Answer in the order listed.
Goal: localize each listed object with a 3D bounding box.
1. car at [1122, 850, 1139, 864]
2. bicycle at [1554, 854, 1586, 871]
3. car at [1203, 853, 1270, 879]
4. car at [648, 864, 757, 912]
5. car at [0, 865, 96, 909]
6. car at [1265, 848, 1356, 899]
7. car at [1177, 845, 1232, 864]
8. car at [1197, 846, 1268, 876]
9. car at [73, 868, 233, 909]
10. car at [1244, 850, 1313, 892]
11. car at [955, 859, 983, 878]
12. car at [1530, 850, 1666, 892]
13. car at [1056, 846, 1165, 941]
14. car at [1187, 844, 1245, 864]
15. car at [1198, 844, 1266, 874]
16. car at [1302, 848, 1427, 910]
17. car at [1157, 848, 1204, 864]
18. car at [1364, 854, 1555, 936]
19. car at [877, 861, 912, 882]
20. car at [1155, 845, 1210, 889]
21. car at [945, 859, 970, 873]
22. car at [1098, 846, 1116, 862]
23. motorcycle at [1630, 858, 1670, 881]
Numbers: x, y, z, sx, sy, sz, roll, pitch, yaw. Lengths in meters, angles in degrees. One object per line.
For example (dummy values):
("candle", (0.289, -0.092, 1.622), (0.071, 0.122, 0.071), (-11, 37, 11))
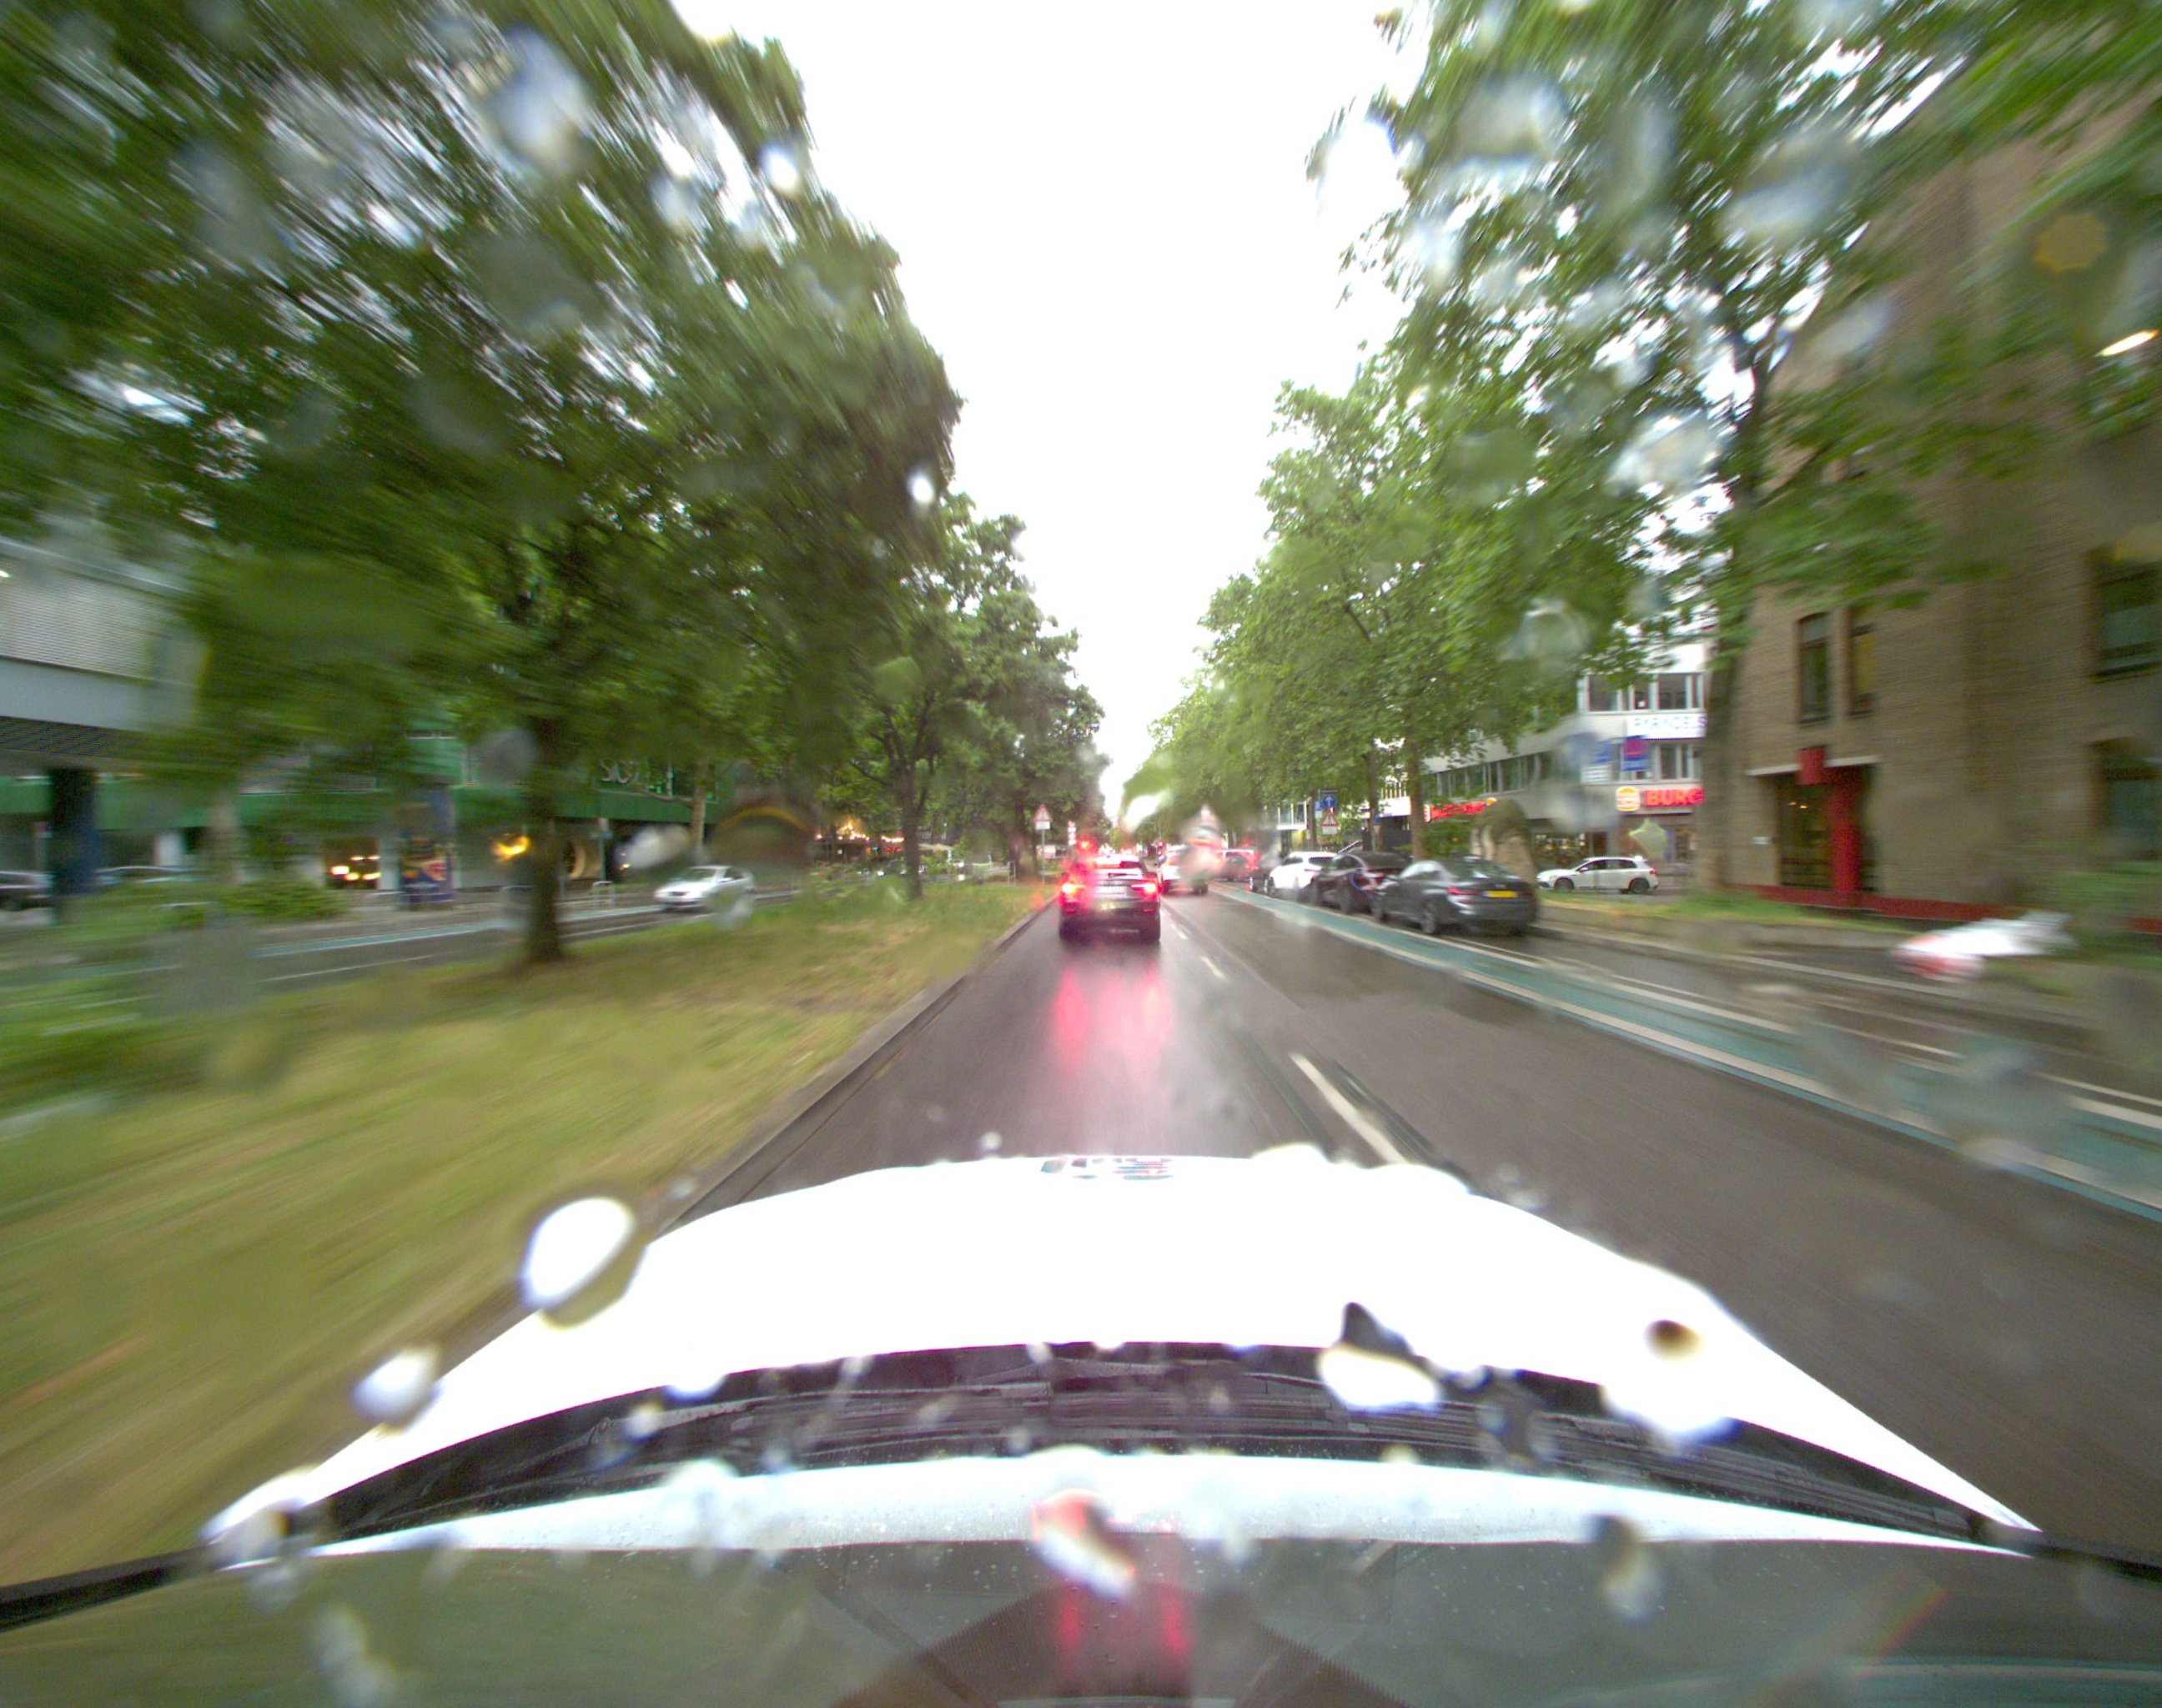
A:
("car", (6.043, 0.364, 99.293), (1.986, 1.651, 4.001), (0, -1, 2))
("bicycle", (24.874, 0.423, 41.473), (0.446, 0.836, 2.027), (0, -1, 2))
("car", (8.689, 0.676, 45.686), (1.568, 1.378, 3.831), (1, -1, -31))
("car", (-12.263, 1.059, 26.655), (1.642, 1.435, 3.814), (-1, -1, 2))
("car", (-36.628, 1.105, 27.928), (3.608, 1.469, 1.698), (0, -1, 1))
("car", (7.515, 0.614, 27.098), (1.723, 1.571, 4.069), (0, -1, -3))
("car", (11.332, 0.041, 74.663), (4.594, 1.706, 2.012), (0, -1, 29))
("car", (10.662, 0.473, 57.558), (4.548, 2.014, 1.980), (0, -1, 39))
("car", (-31.856, 1.167, 28.036), (3.489, 1.378, 1.683), (0, -1, -1))
("car", (7.705, 0.653, 32.116), (1.691, 1.523, 4.021), (0, -1, -1))
("car", (-10.612, 1.342, 77.291), (1.753, 1.703, 4.337), (0, -1, 4))
("car", (20.510, 0.652, 32.507), (4.211, 1.567, 2.065), (0, -1, 18))
("car", (0.517, 0.673, 15.843), (1.843, 1.602, 4.000), (-1, 0, 0))
("car", (11.788, -0.009, 70.986), (4.594, 1.706, 2.012), (0, -1, 29))
("car", (11.843, 0.384, 63.825), (4.834, 2.254, 2.012), (0, -1, 30))
("car", (7.616, 0.637, 22.392), (1.861, 1.520, 4.558), (0, -1, 0))
("car", (10.834, 0.195, 88.713), (4.594, 1.706, 2.012), (0, -1, 29))
("car", (7.467, 0.733, 16.631), (1.866, 1.421, 4.612), (0, 0, 1))
("car", (-11.503, 1.049, 50.339), (1.687, 1.258, 3.636), (0, -1, -7))
("car", (4.077, 0.511, 33.218), (1.871, 1.697, 4.001), (0, -1, 1))
("car", (-13.162, 1.295, 87.065), (1.717, 1.518, 4.006), (0, -1, 6))
("car", (2.915, 0.046, 90.958), (1.986, 1.726, 4.000), (0, -1, 1))
("motorcycle", (26.362, 0.721, 37.728), (1.421, 1.030, 0.620), (0, -1, -1))
